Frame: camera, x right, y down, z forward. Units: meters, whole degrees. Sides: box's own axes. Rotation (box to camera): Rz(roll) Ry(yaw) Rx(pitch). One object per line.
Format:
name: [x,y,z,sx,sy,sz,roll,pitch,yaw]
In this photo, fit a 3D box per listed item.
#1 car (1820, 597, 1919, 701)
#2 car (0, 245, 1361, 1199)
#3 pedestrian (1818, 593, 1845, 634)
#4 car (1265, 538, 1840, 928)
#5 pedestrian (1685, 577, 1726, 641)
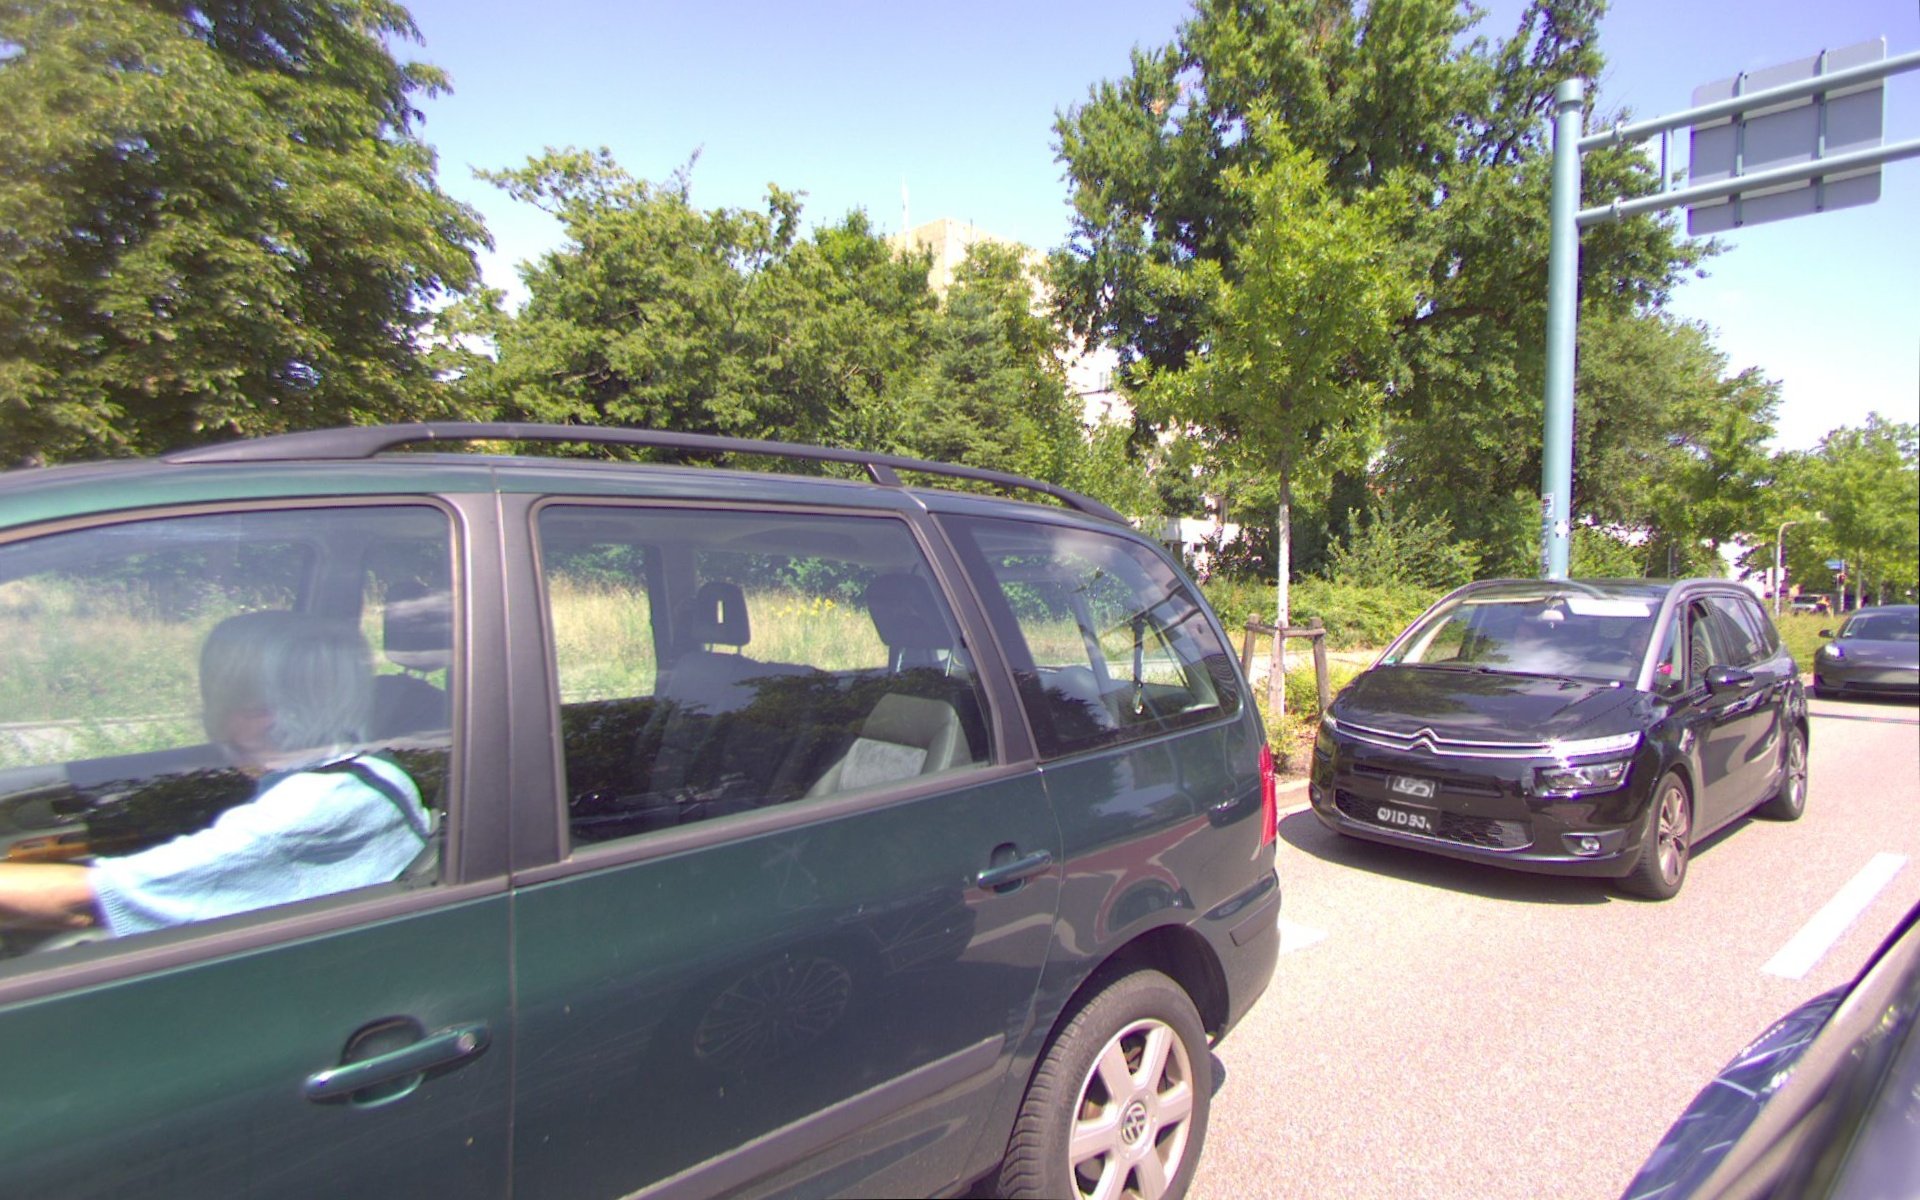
car: [14.726,0.681,15.468,4.085,1.386,1.805,-1,2,-41]
car: [-1.139,0.536,1.959,4.315,1.737,1.804,0,-1,-41]
pedestrian: [38.573,0.588,44.802,0.633,1.787,0.878,2,1,26]
car: [3.943,0.570,6.378,4.400,1.628,1.815,1,-1,-41]
pedestrian: [24.601,0.280,33.411,0.885,2.063,0.845,1,0,-38]
